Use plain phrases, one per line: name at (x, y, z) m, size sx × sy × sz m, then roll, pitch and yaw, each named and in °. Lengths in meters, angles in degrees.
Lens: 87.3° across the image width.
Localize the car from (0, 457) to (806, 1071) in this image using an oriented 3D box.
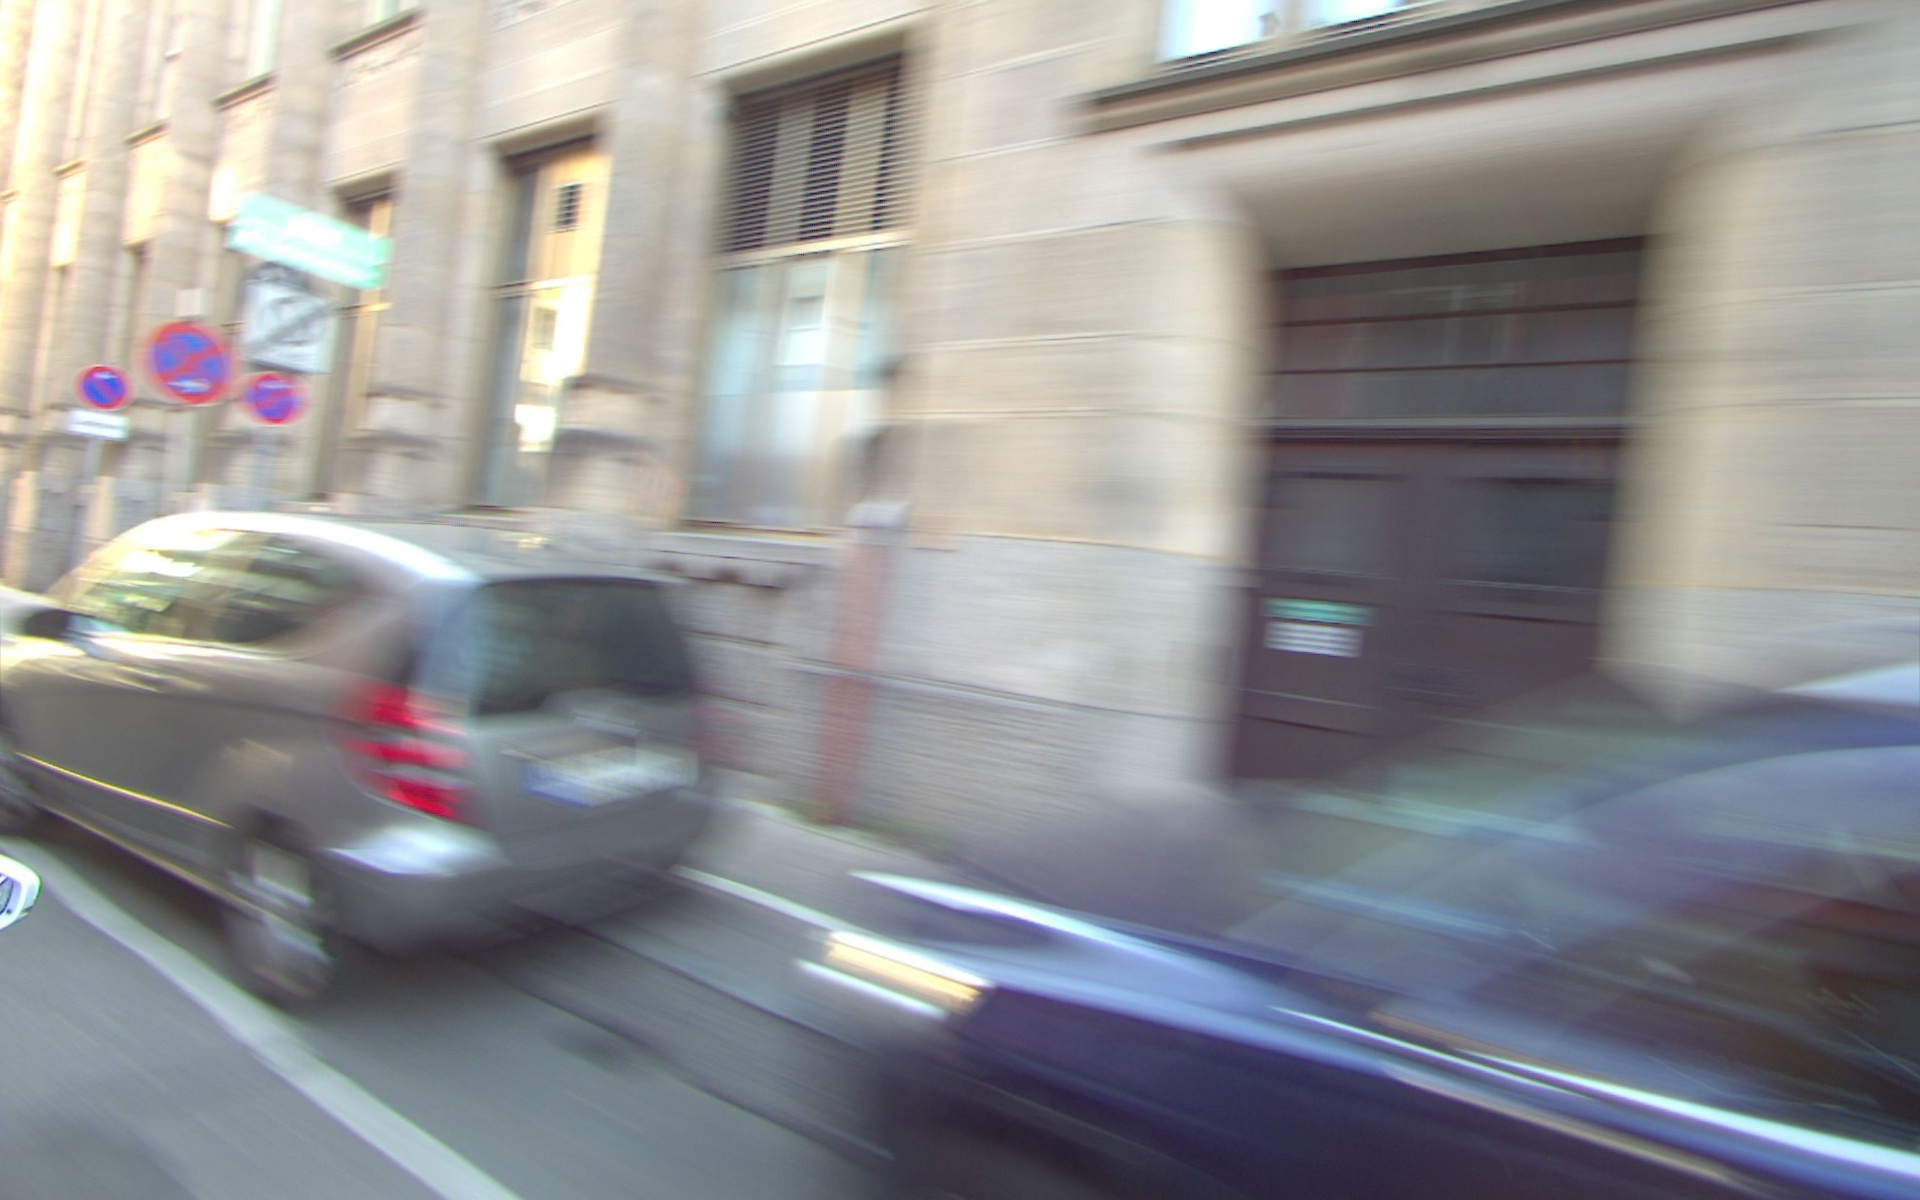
car at (-2.892, 0.396, 4.624) m, size 3.933 × 1.686 × 1.777 m, roll 6°, pitch -1°, yaw 31°

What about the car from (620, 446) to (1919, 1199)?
car at (1.538, 0.856, 1.651) m, size 4.172 × 1.827 × 1.673 m, roll 6°, pitch -3°, yaw 34°
